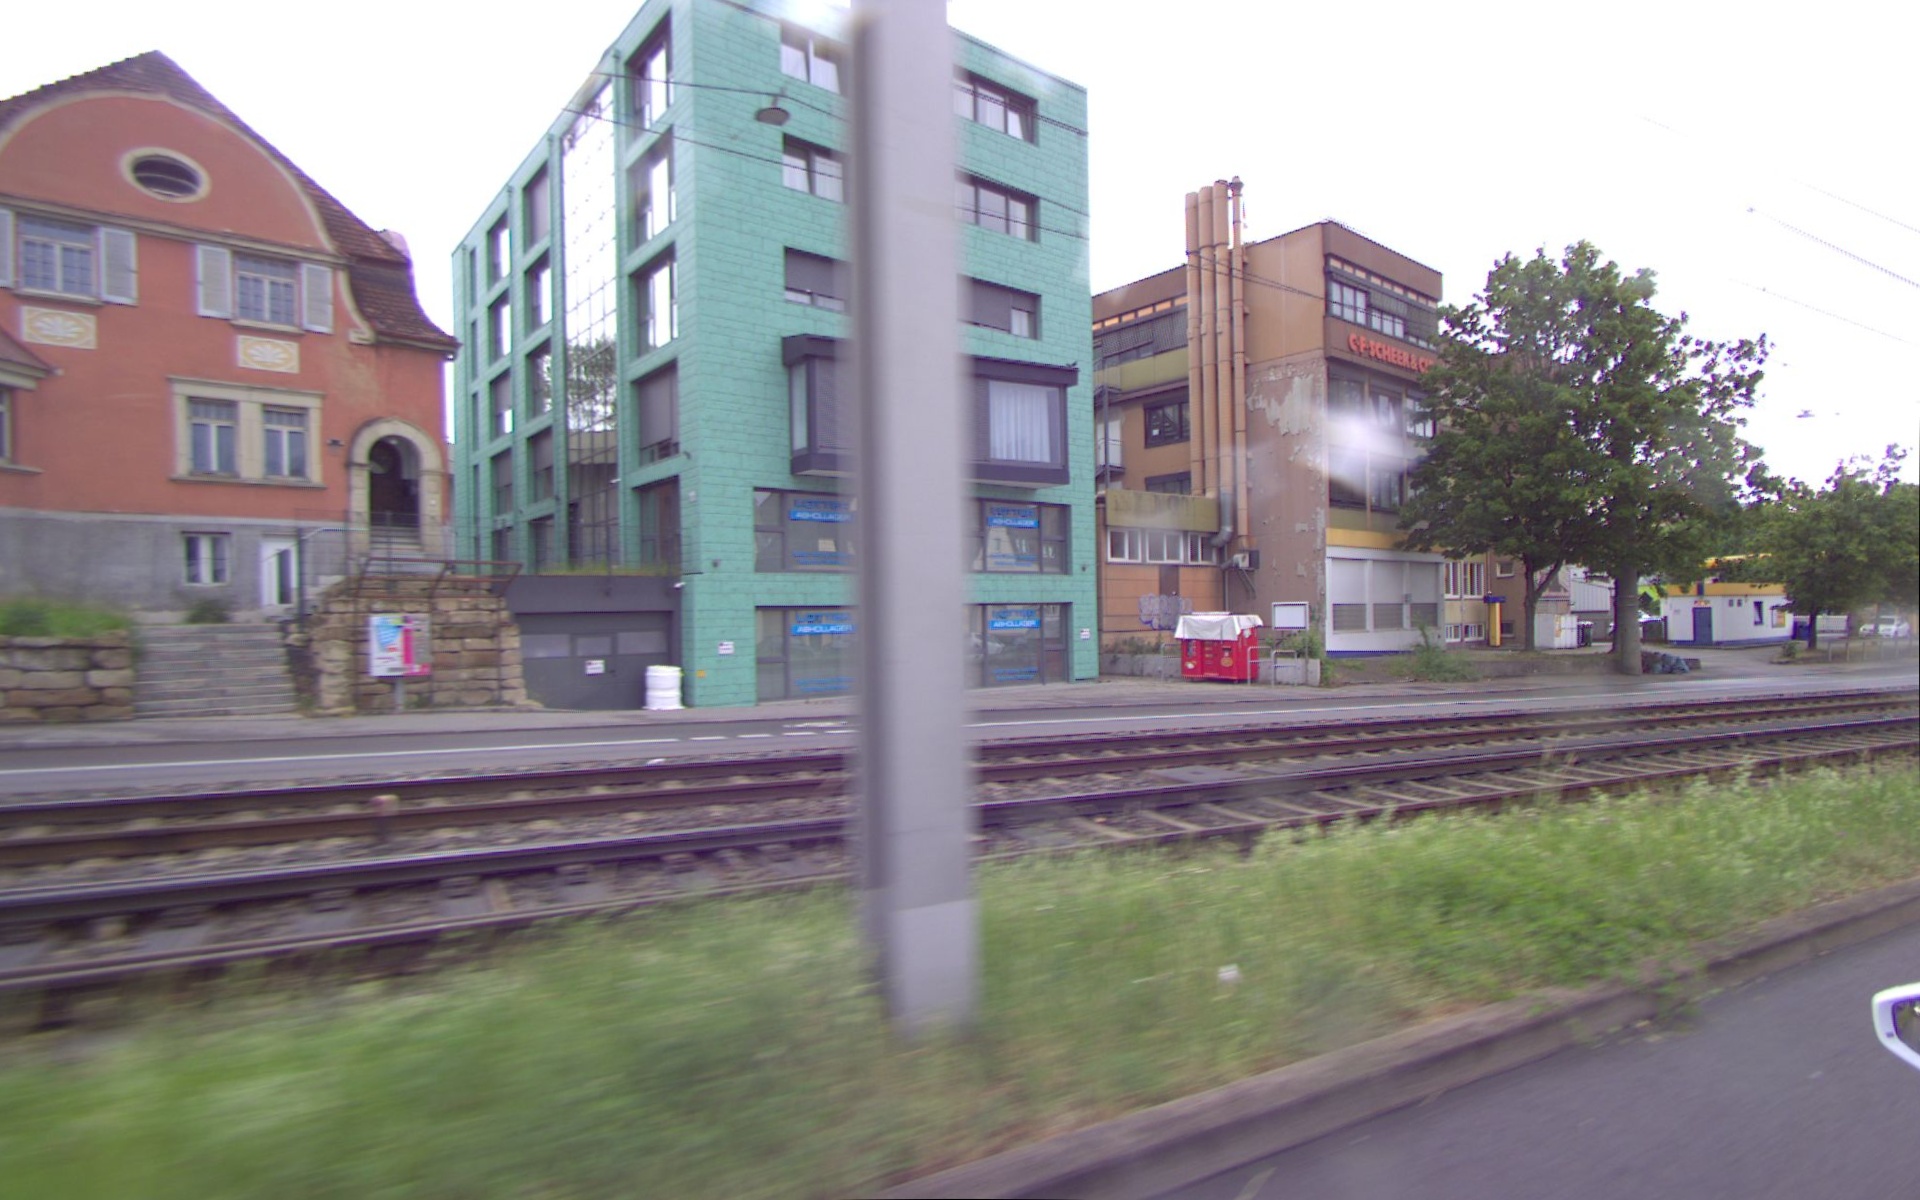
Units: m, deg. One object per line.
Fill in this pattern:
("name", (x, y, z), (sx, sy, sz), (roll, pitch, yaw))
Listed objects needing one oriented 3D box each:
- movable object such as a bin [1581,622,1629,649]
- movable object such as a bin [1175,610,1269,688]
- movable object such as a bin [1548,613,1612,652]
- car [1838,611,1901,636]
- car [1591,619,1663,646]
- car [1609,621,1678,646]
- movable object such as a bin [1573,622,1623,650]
("movable object such as a bin", (37.102, 2.045, 57.787), (1.557, 1.394, 1.976), (-1, 2, -41))
("movable object such as a bin", (7.952, 1.441, 30.563), (1.786, 2.186, 2.117), (-1, 2, -38))
("movable object such as a bin", (33.736, 1.745, 54.593), (3.543, 1.945, 1.976), (-1, 2, -41))
("car", (58.472, 1.530, 64.558), (3.956, 1.461, 1.982), (2, 0, -32))
("car", (41.995, 2.017, 63.278), (3.714, 1.473, 1.547), (2, 1, 35))
("car", (45.777, 2.217, 67.310), (3.714, 1.499, 1.570), (2, 1, 35))
("movable object such as a bin", (35.841, 2.014, 56.407), (1.557, 1.394, 1.976), (-1, 2, -41))
